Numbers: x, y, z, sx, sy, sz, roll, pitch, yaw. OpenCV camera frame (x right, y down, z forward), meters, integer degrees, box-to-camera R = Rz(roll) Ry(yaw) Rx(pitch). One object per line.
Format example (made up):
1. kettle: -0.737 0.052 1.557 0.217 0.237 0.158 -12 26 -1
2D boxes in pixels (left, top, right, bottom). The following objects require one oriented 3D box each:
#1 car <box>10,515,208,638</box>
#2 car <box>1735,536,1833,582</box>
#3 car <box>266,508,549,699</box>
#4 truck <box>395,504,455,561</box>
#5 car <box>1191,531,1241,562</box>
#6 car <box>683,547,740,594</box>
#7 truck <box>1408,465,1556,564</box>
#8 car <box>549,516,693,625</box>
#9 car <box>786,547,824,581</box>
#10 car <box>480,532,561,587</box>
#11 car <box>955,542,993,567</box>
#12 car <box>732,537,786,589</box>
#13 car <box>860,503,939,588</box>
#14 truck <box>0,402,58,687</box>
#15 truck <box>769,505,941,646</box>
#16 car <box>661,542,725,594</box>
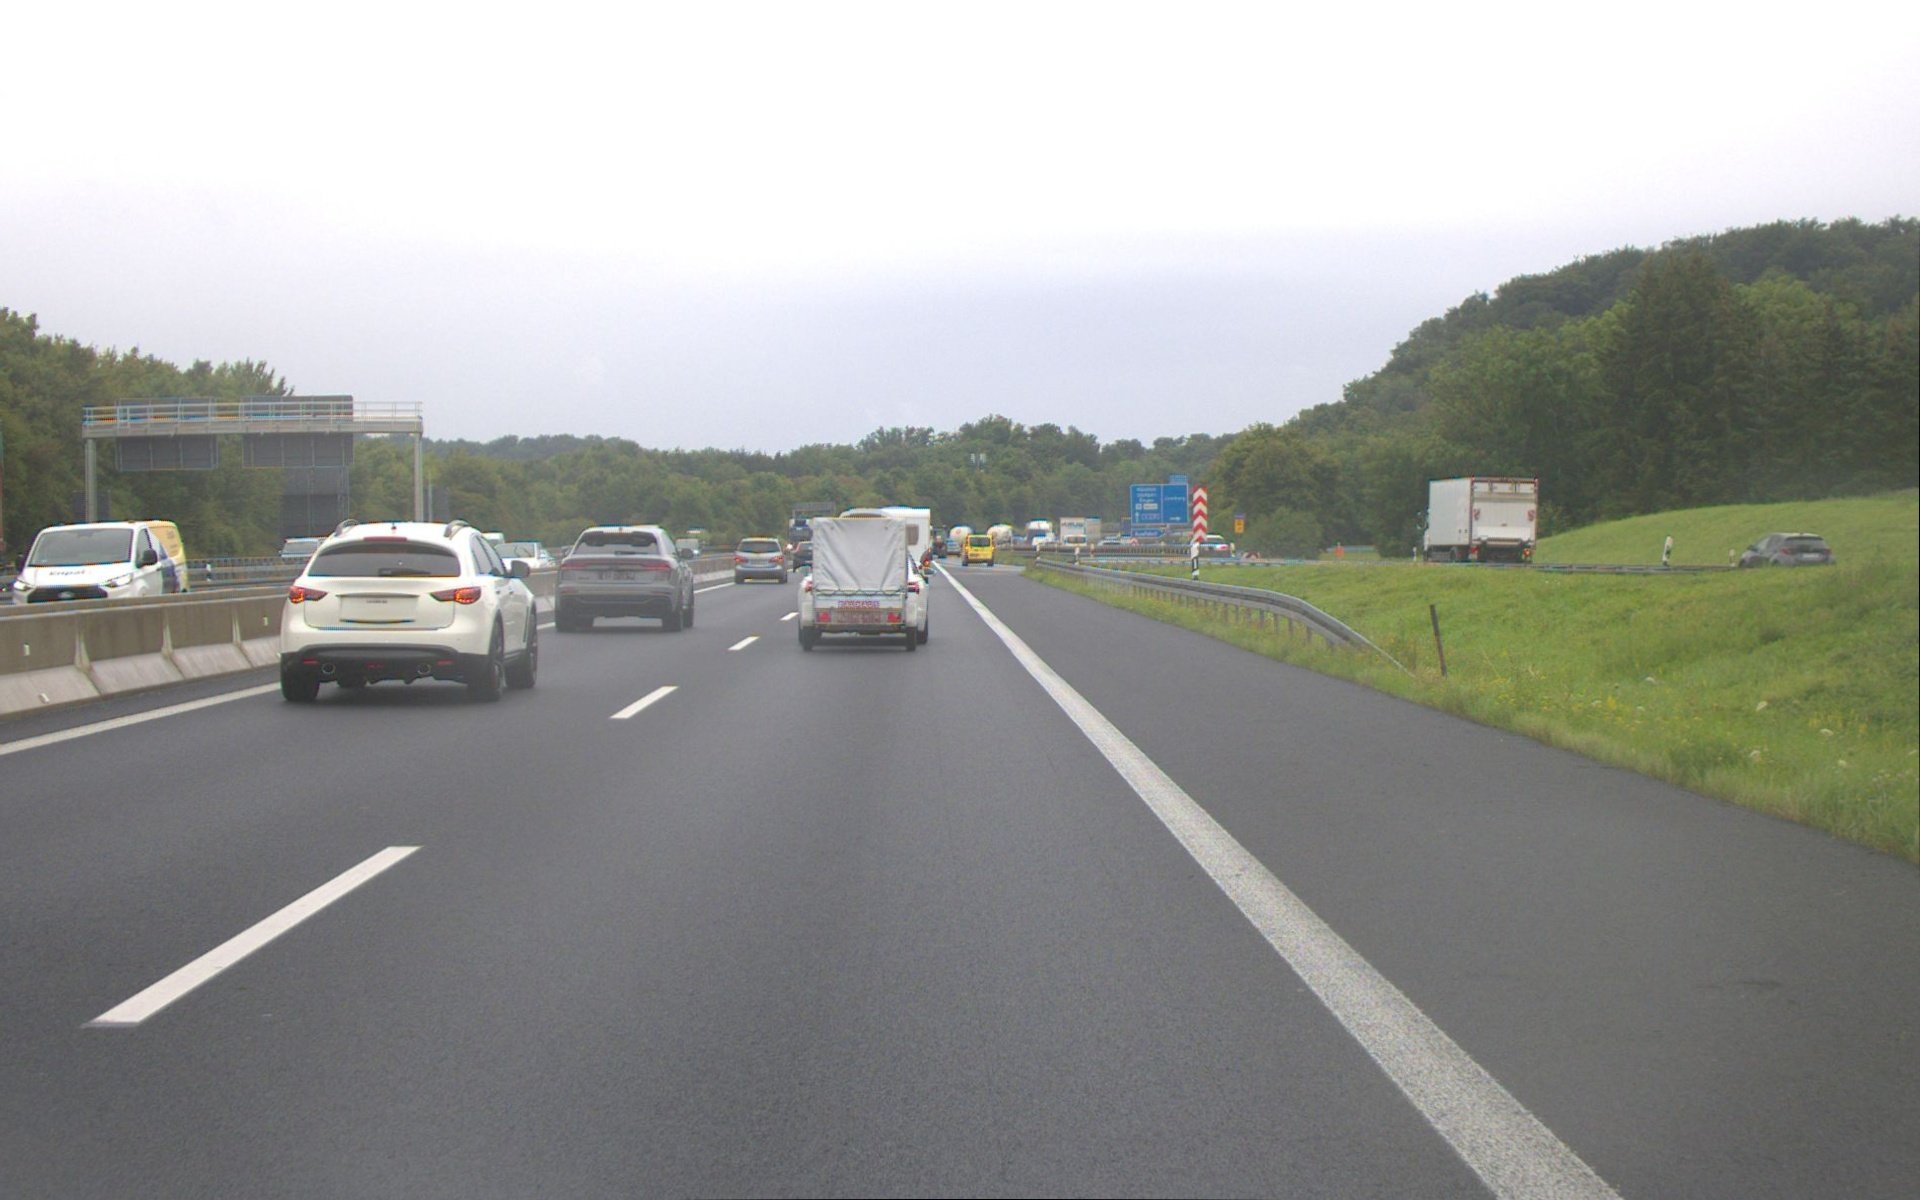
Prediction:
1. car: -13.790 -0.410 56.003 1.993 1.856 5.222 -2 1 -1
2. car: 24.318 -1.214 101.525 1.696 1.284 3.536 1 1 -6
3. car: -5.130 -0.011 32.520 2.048 1.665 4.541 1 1 -1
4. truck: -35.681 -4.500 229.600 2.685 3.648 9.559 -1 1 -2
5. car: 13.288 -2.782 178.615 1.993 1.546 4.001 1 1 -4
6. car: -9.081 -1.083 125.747 1.819 1.656 4.017 0 1 0
7. truck: 20.096 -3.258 132.933 3.824 3.646 8.273 1 1 -4
8. car: -5.567 -0.511 56.969 1.975 1.697 4.803 1 1 -1
9. car: -7.360 -1.706 163.637 1.645 1.568 4.000 1 1 0
10. car: -14.393 -1.332 112.831 2.155 1.759 4.961 0 1 -2
11. car: 0.891 -2.930 220.575 1.993 1.546 4.001 1 1 -6
12. car: -7.036 -1.310 120.596 1.738 1.787 4.000 1 1 -1
13. car: -2.015 -1.802 112.836 2.331 2.716 6.541 0 1 -3
14. truck: -17.617 -0.902 55.345 3.400 4.717 10.486 1 1 0
15. truck: -1.461 -0.381 48.316 2.242 1.833 6.585 0 1 -2
16. car: -8.718 -1.049 112.430 1.819 1.656 4.017 0 1 0
